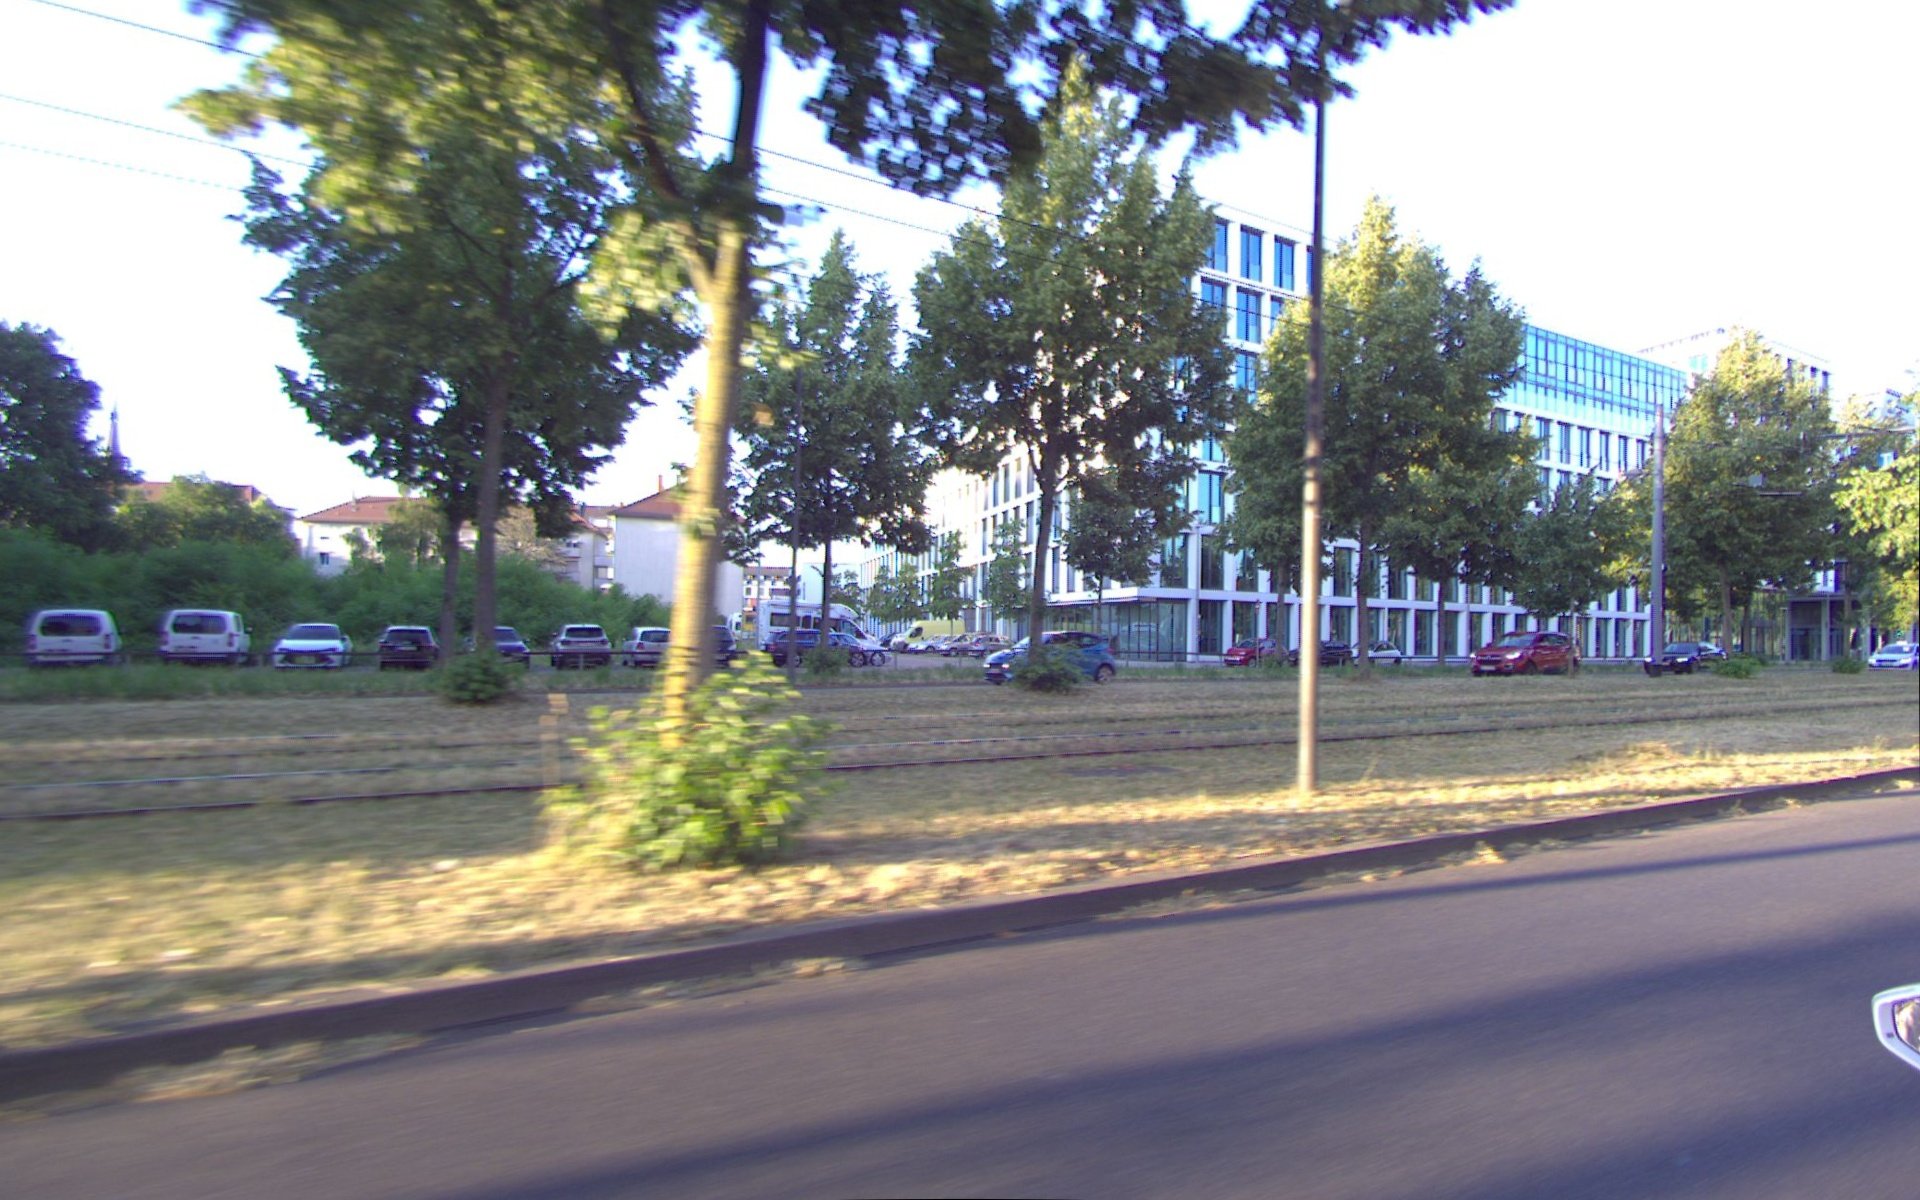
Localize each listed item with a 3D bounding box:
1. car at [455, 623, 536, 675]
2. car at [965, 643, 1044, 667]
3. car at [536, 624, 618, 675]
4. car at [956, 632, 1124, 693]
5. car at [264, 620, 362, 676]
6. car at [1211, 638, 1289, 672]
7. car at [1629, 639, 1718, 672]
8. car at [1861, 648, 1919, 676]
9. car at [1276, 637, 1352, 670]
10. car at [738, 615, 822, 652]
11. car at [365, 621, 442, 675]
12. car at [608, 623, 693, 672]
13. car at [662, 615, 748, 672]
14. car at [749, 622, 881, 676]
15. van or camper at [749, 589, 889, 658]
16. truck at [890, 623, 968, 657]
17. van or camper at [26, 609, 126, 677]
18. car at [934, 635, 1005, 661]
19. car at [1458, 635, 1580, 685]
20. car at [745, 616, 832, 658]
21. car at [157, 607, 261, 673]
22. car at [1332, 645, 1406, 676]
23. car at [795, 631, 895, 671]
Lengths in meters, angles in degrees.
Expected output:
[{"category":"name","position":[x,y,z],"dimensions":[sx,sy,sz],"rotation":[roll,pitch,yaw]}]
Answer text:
[{"category":"car","position":[-15.739,1.618,33.962],"dimensions":[1.902,1.661,3.964],"rotation":[2,-2,-33]},{"category":"car","position":[2.555,3.168,57.861],"dimensions":[4.184,1.277,1.738],"rotation":[2,-2,-18]},{"category":"car","position":[-13.566,1.720,35.445],"dimensions":[1.902,1.661,3.964],"rotation":[2,-2,-33]},{"category":"car","position":[2.202,1.672,27.287],"dimensions":[4.238,1.528,1.908],"rotation":[2,-2,-31]},{"category":"car","position":[-20.258,1.479,31.611],"dimensions":[1.895,1.661,3.978],"rotation":[2,-2,-23]},{"category":"car","position":[14.441,2.749,50.045],"dimensions":[3.451,1.602,1.851],"rotation":[2,-2,-30]},{"category":"car","position":[31.335,2.437,44.069],"dimensions":[4.425,1.349,1.648],"rotation":[2,-2,-32]},{"category":"car","position":[47.778,3.147,51.165],"dimensions":[4.481,1.349,1.648],"rotation":[2,-2,-32]},{"category":"car","position":[18.416,2.789,52.208],"dimensions":[3.622,1.602,1.851],"rotation":[2,-2,-30]},{"category":"car","position":[-13.473,2.551,75.292],"dimensions":[5.993,2.630,1.993],"rotation":[2,-2,-17]},{"category":"car","position":[-18.194,1.526,32.763],"dimensions":[1.902,1.661,3.964],"rotation":[2,-2,-33]},{"category":"car","position":[-11.294,1.687,36.469],"dimensions":[1.902,1.661,3.964],"rotation":[2,-2,-33]},{"category":"car","position":[-9.711,1.619,38.040],"dimensions":[1.979,2.040,3.964],"rotation":[2,-2,-33]},{"category":"car","position":[-5.819,1.978,40.419],"dimensions":[4.876,2.040,1.983],"rotation":[2,-2,-31]},{"category":"van or camper","position":[-6.825,1.162,48.681],"dimensions":[6.181,3.126,2.701],"rotation":[2,-2,-27]},{"category":"truck","position":[-2.310,2.980,74.601],"dimensions":[5.487,2.413,1.991],"rotation":[2,-2,-20]},{"category":"van or camper","position":[-25.222,1.204,28.775],"dimensions":[1.984,1.814,3.954],"rotation":[2,-2,-40]},{"category":"car","position":[0.611,3.136,65.260],"dimensions":[4.212,1.610,1.761],"rotation":[2,-2,-19]},{"category":"car","position":[18.896,2.011,33.901],"dimensions":[4.137,1.598,1.875],"rotation":[2,-2,-32]},{"category":"car","position":[-8.826,1.931,51.776],"dimensions":[3.953,2.040,1.984],"rotation":[2,-2,-30]},{"category":"car","position":[-22.824,1.205,30.696],"dimensions":[1.988,1.869,3.969],"rotation":[2,-2,-29]},{"category":"car","position":[22.329,3.283,54.883],"dimensions":[3.739,1.602,1.851],"rotation":[2,-2,-30]},{"category":"car","position":[-5.014,2.214,43.802],"dimensions":[3.949,1.661,1.909],"rotation":[2,-2,-27]}]
